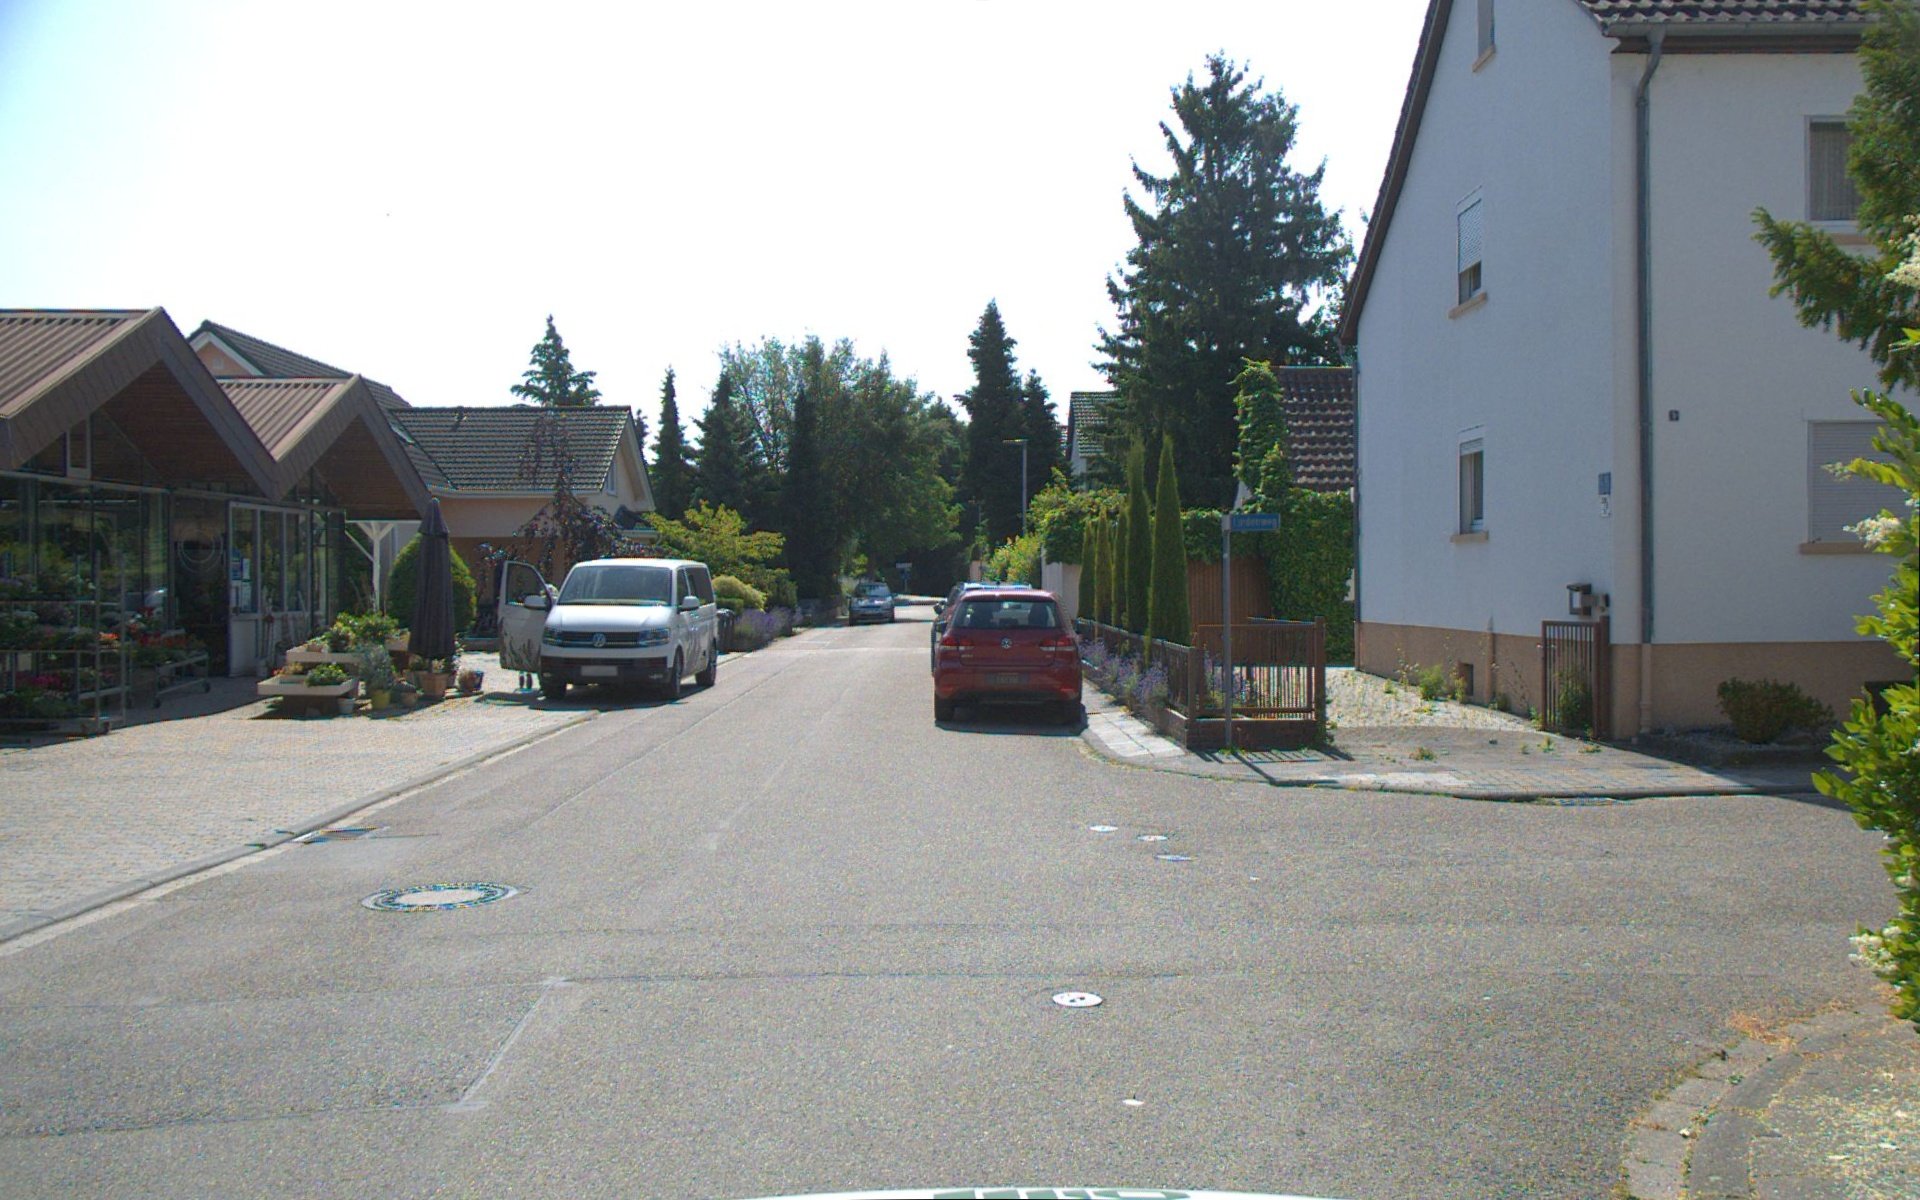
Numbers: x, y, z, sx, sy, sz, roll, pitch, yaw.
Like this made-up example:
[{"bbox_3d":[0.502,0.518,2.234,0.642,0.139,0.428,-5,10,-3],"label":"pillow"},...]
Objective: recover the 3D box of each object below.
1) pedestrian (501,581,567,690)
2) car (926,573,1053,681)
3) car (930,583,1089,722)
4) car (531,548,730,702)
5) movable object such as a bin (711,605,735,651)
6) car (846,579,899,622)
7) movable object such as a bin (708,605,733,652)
[{"bbox_3d":[-6.266,0.514,24.343,0.704,1.565,0.640,0,1,32],"label":"pedestrian"},{"bbox_3d":[0.415,0.395,27.096,1.786,1.643,3.997,0,0,-3],"label":"car"},{"bbox_3d":[0.636,0.567,20.281,1.738,1.505,4.001,1,0,3],"label":"car"},{"bbox_3d":[-4.739,0.314,24.537,1.889,2.049,4.896,0,0,1],"label":"car"},{"bbox_3d":[-5.465,0.638,38.149,0.484,1.042,0.447,-1,0,-1],"label":"movable object such as a bin"},{"bbox_3d":[-3.244,-0.008,61.714,1.717,1.513,4.375,-1,1,0],"label":"car"},{"bbox_3d":[-5.459,0.644,37.687,0.484,1.042,0.447,-1,0,-1],"label":"movable object such as a bin"}]
